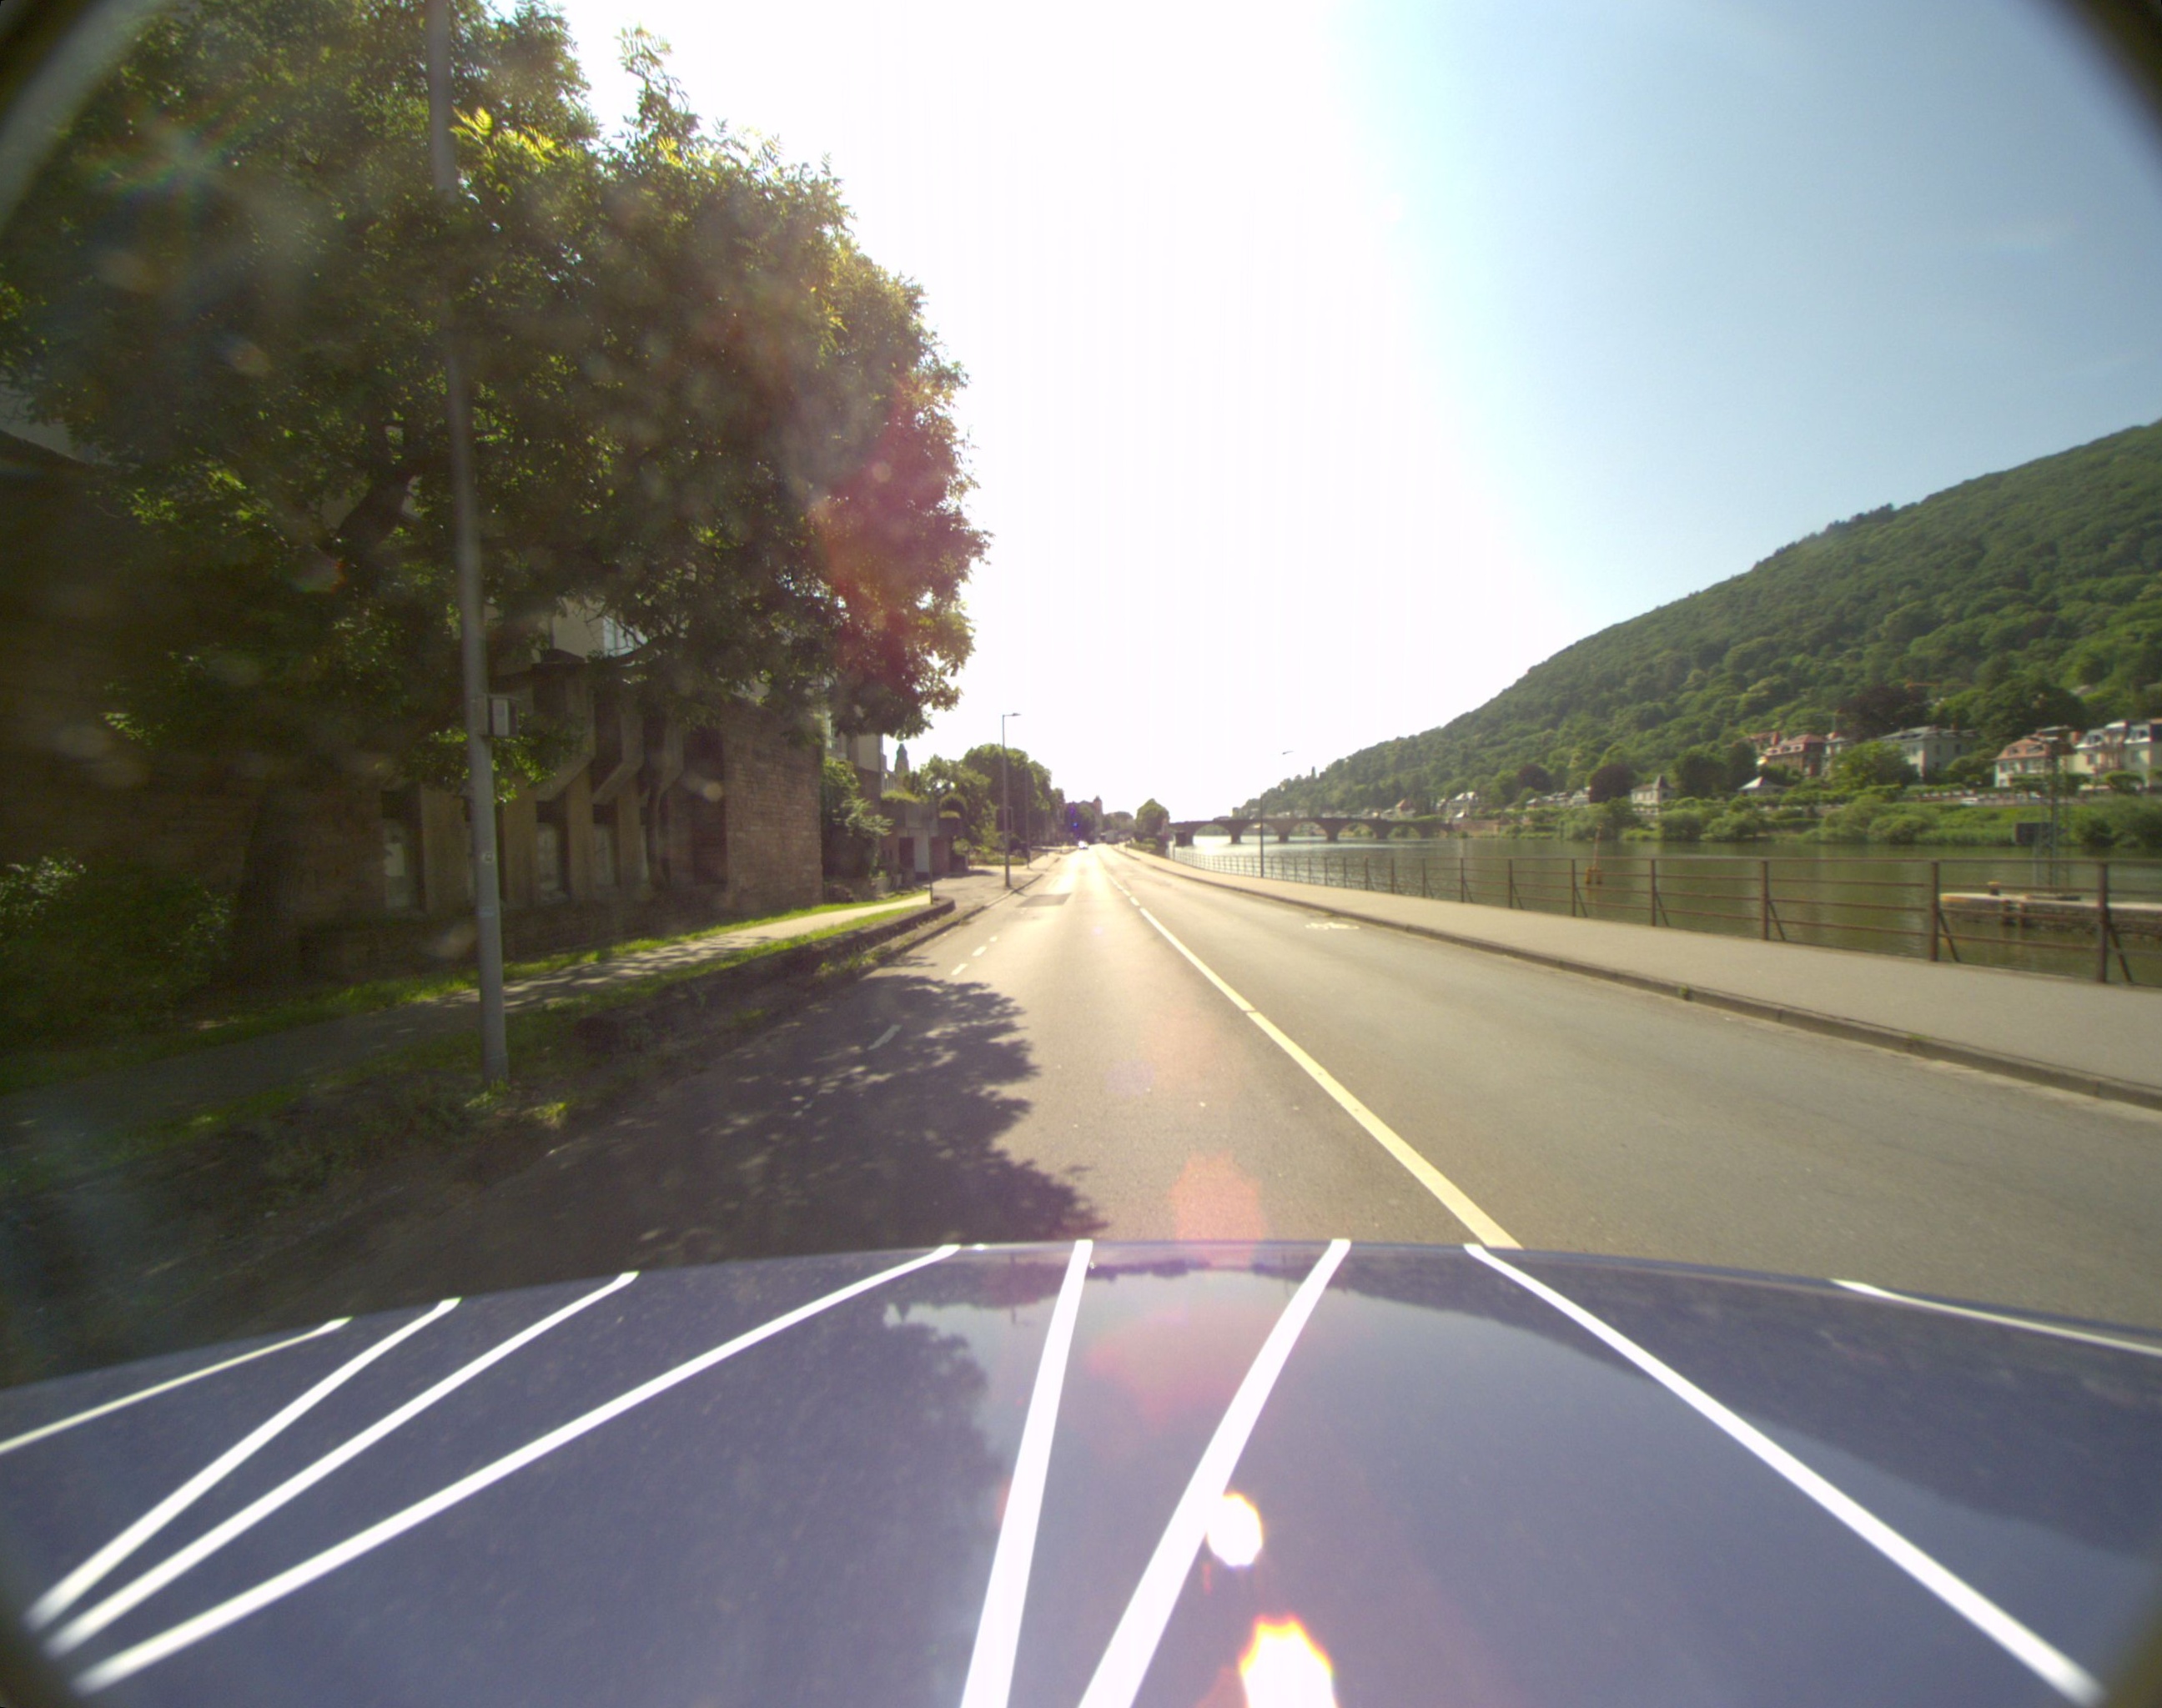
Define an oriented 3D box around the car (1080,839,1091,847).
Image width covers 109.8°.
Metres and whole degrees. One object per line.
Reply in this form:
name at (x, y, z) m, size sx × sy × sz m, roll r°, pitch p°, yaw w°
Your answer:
car at (0.845, -2.069, 144.544) m, size 1.998 × 1.433 × 4.000 m, roll 0°, pitch 0°, yaw 3°
